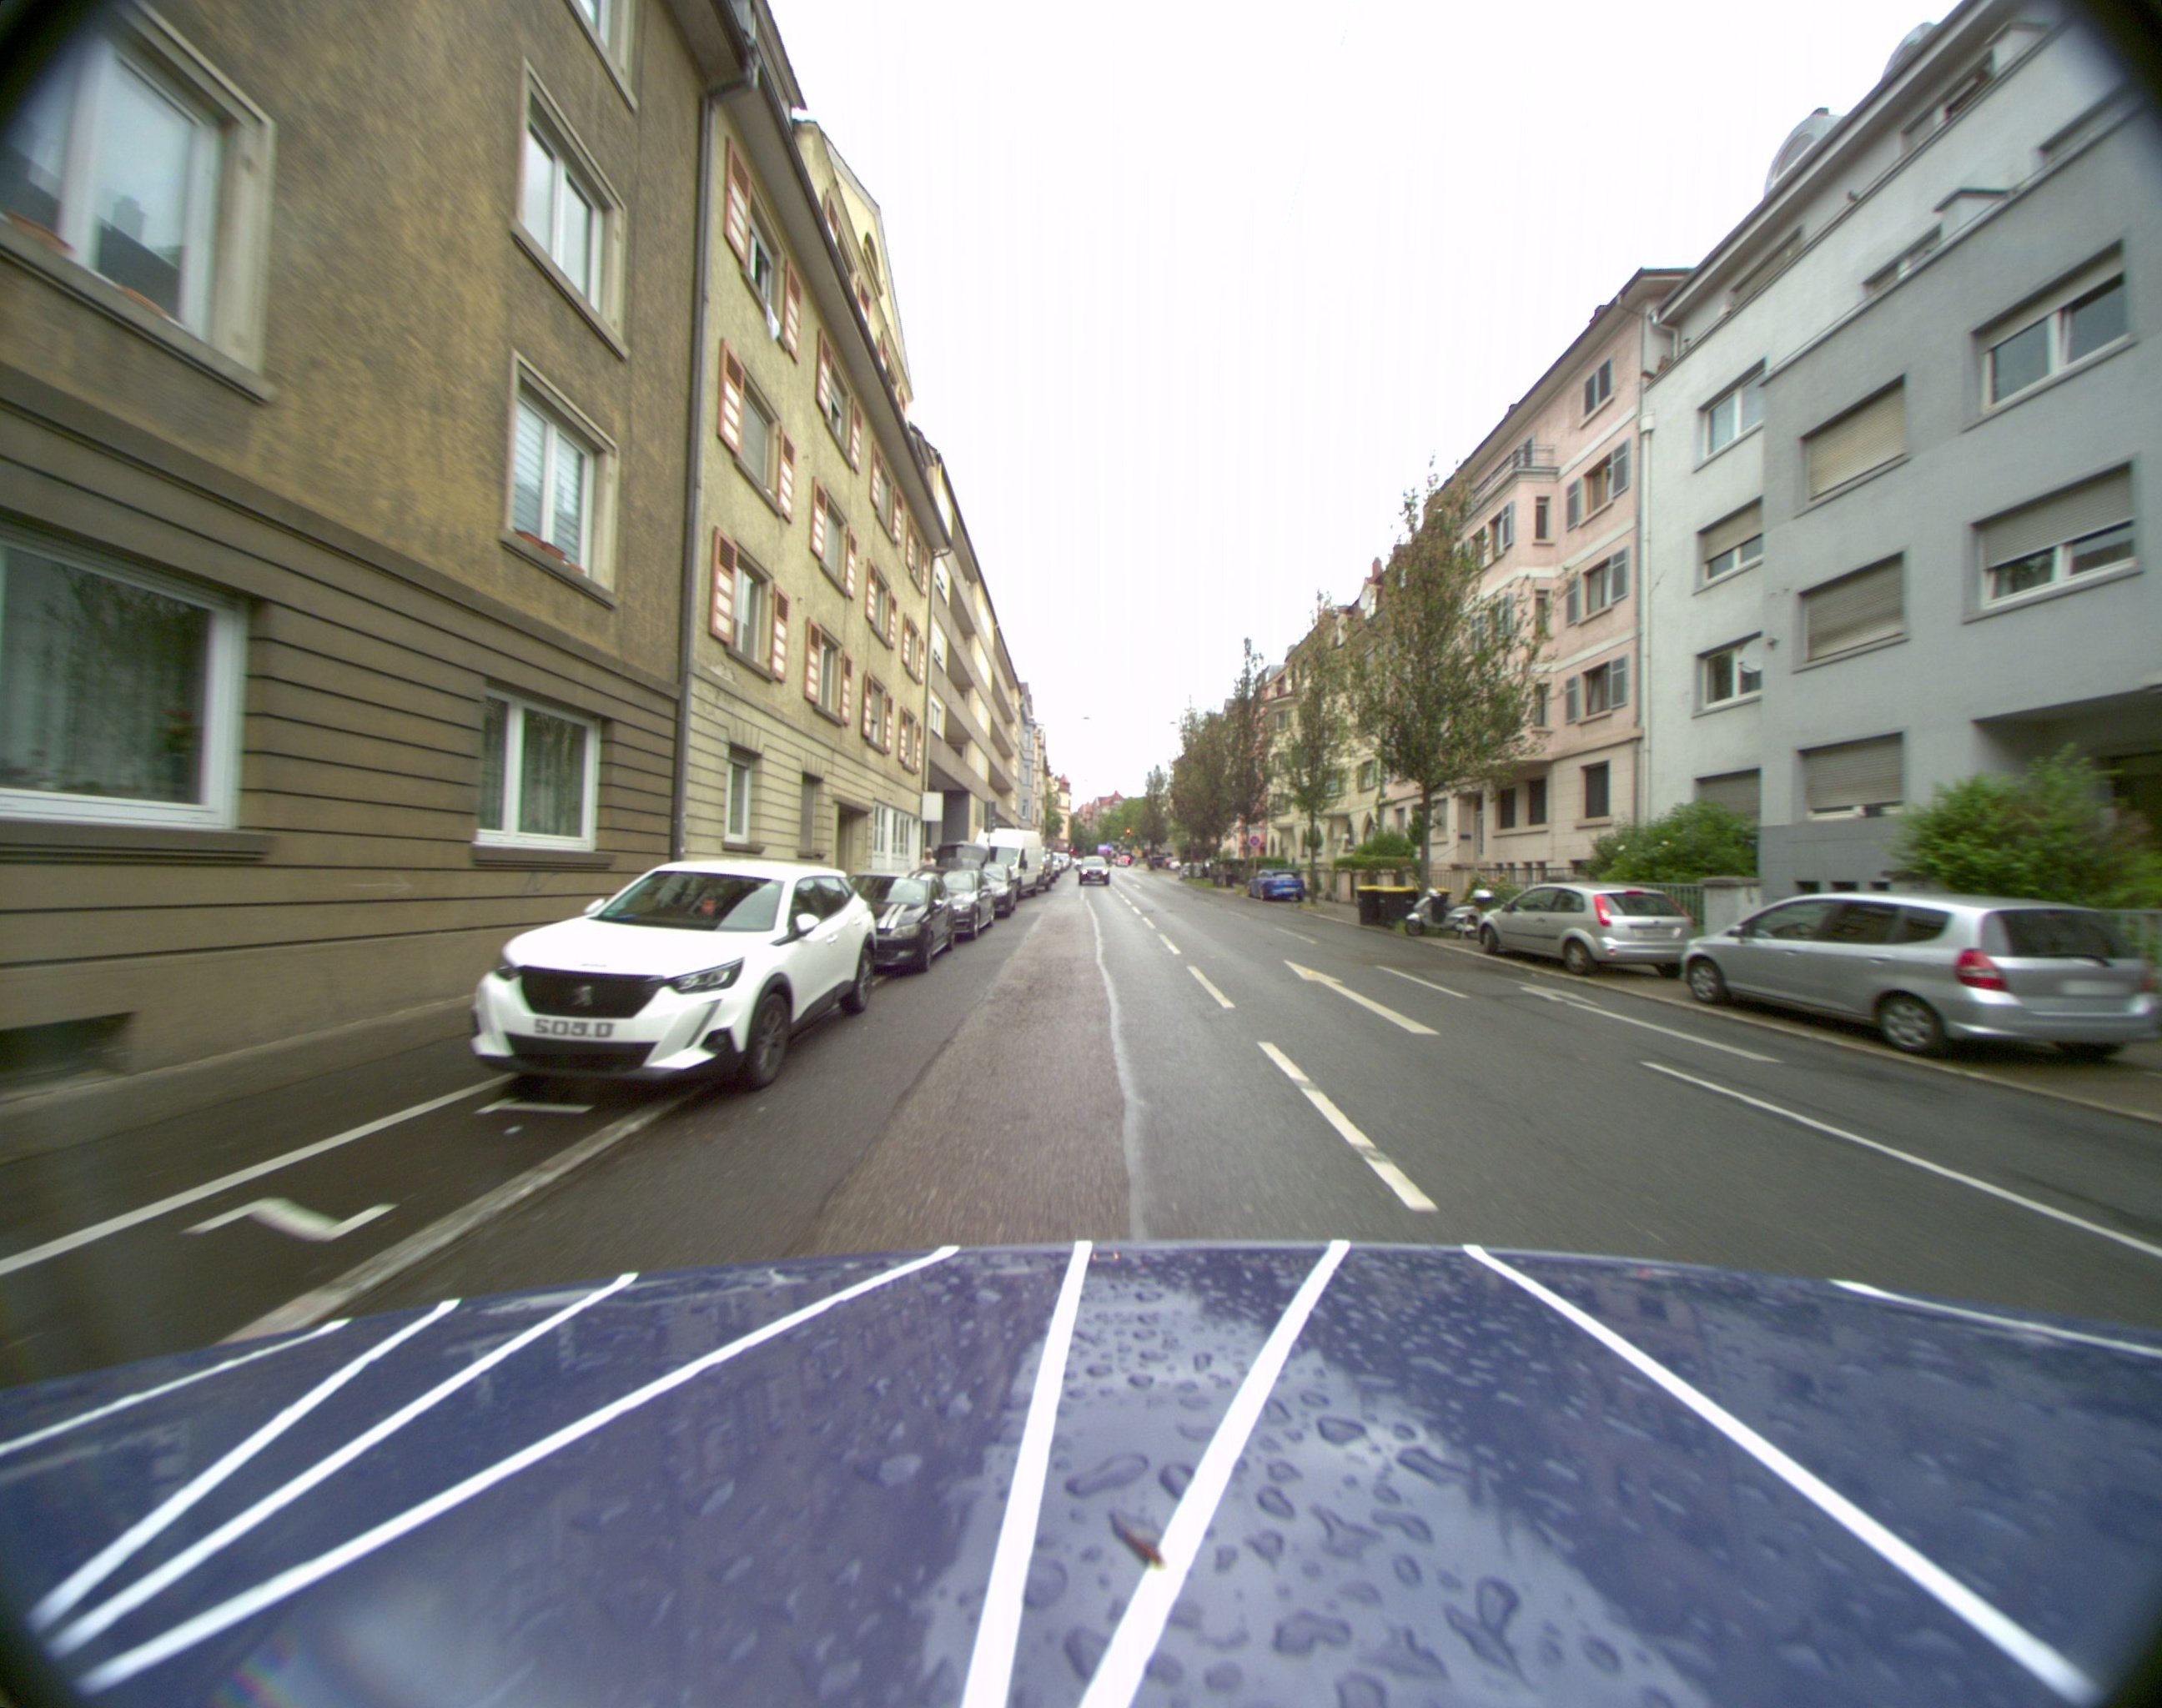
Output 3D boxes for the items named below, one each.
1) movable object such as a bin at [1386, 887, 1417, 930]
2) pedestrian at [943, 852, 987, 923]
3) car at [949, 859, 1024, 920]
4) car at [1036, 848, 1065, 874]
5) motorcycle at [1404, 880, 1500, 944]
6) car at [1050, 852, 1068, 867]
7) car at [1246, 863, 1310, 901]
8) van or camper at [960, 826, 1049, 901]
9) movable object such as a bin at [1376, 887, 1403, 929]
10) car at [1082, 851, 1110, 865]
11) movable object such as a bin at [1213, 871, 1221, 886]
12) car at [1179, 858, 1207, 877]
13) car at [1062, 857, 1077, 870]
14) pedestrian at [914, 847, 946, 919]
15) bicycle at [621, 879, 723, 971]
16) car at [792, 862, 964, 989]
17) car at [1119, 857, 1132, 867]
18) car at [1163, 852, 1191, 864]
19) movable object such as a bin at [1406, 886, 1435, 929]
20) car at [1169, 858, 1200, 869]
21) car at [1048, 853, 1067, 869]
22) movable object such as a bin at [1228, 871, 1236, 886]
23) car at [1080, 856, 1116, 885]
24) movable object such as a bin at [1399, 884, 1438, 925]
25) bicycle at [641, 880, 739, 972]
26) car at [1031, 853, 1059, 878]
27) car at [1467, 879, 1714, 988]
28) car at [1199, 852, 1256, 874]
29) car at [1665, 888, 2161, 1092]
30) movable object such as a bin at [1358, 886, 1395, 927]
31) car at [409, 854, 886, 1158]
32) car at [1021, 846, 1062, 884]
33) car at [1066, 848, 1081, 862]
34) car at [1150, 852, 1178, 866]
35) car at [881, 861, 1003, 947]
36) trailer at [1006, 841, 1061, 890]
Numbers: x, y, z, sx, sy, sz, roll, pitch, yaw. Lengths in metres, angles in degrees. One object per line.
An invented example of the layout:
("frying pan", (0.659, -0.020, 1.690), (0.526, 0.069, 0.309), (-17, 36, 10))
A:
("movable object such as a bin", (8.216, 1.384, 19.485), (0.526, 1.052, 0.482), (-3, 2, -21))
("pedestrian", (-2.906, 0.842, 19.044), (0.630, 1.681, 0.637), (9, 3, 39))
("car", (-2.626, 0.953, 21.915), (1.782, 1.471, 4.188), (1, 1, -3))
("car", (-2.420, 0.542, 61.467), (1.994, 1.944, 4.822), (2, 1, 0))
("motorcycle", (8.497, 1.299, 17.441), (1.806, 1.307, 0.743), (1, 1, 42))
("car", (-2.352, 0.577, 81.882), (1.709, 1.434, 3.932), (2, 1, 1))
("car", (8.744, 1.203, 34.090), (1.683, 1.378, 4.602), (1, 1, 0))
("van or camper", (-2.914, 0.345, 30.650), (2.188, 2.684, 6.423), (1, 0, 7))
("movable object such as a bin", (8.208, 1.428, 20.238), (0.472, 1.052, 0.483), (-2, 2, -9))
("car", (1.682, 0.464, 83.760), (1.666, 1.464, 3.659), (0, 1, 28))
("movable object such as a bin", (8.358, 1.500, 46.830), (0.365, 0.884, 0.572), (-1, 1, 0))
("car", (9.250, 1.112, 62.926), (1.685, 1.409, 4.137), (2, 1, 1))
("car", (-1.327, 1.123, 88.978), (1.709, 1.389, 3.932), (-2, 1, 1))
("pedestrian", (-3.850, 0.721, 19.364), (0.687, 1.777, 0.712), (2, 2, -14))
("bicycle", (-5.763, 0.954, 10.829), (0.248, 1.067, 2.106), (3, 1, 1))
("car", (-2.925, 0.955, 11.722), (1.636, 1.470, 3.734), (4, 0, -1))
("car", (7.162, 1.239, 122.797), (1.772, 1.540, 3.652), (0, 1, 0))
("car", (13.895, 0.610, 110.334), (3.928, 1.613, 1.592), (2, 1, 1))
("movable object such as a bin", (8.800, 1.373, 19.684), (0.472, 1.052, 0.483), (-2, 2, -9))
("car", (13.534, 1.271, 99.474), (3.928, 1.289, 1.646), (2, 1, 1))
("car", (-2.314, 0.665, 76.036), (1.731, 1.434, 4.358), (2, 1, 1))
("movable object such as a bin", (9.305, 1.488, 46.888), (0.365, 0.906, 0.572), (-1, 2, 0))
("car", (0.981, 0.947, 45.363), (1.890, 1.543, 3.998), (-2, 1, -1))
("movable object such as a bin", (9.009, 1.344, 20.310), (0.827, 1.052, 0.483), (-1, 2, 1))
("bicycle", (-5.514, 0.964, 10.853), (0.248, 1.067, 2.106), (3, 1, 1))
("car", (-2.490, 0.786, 53.522), (1.751, 1.630, 4.272), (2, 1, 0))
("car", (8.496, 1.240, 13.136), (1.605, 1.388, 3.886), (1, 1, 0))
("car", (13.133, 0.799, 68.468), (4.731, 1.894, 1.918), (0, 1, -2))
("car", (8.580, 1.221, 8.282), (1.604, 1.443, 3.888), (1, 1, 4))
("movable object such as a bin", (8.104, 1.441, 20.849), (0.827, 1.052, 0.483), (-2, 2, 1))
("car", (-3.014, 0.876, 6.441), (1.636, 1.629, 4.194), (4, 0, -1))
("car", (-2.327, 0.590, 46.341), (2.159, 2.136, 5.509), (2, 1, 0))
("car", (-0.999, 0.109, 101.303), (1.826, 1.808, 4.519), (2, 1, 1))
("car", (12.270, 0.723, 112.584), (3.930, 1.836, 1.867), (1, 1, -2))
("car", (-2.836, 0.954, 16.486), (1.782, 1.471, 4.587), (1, 1, 0))
("trailer", (-2.231, 0.564, 37.206), (1.998, 2.139, 5.074), (3, -1, 3))
